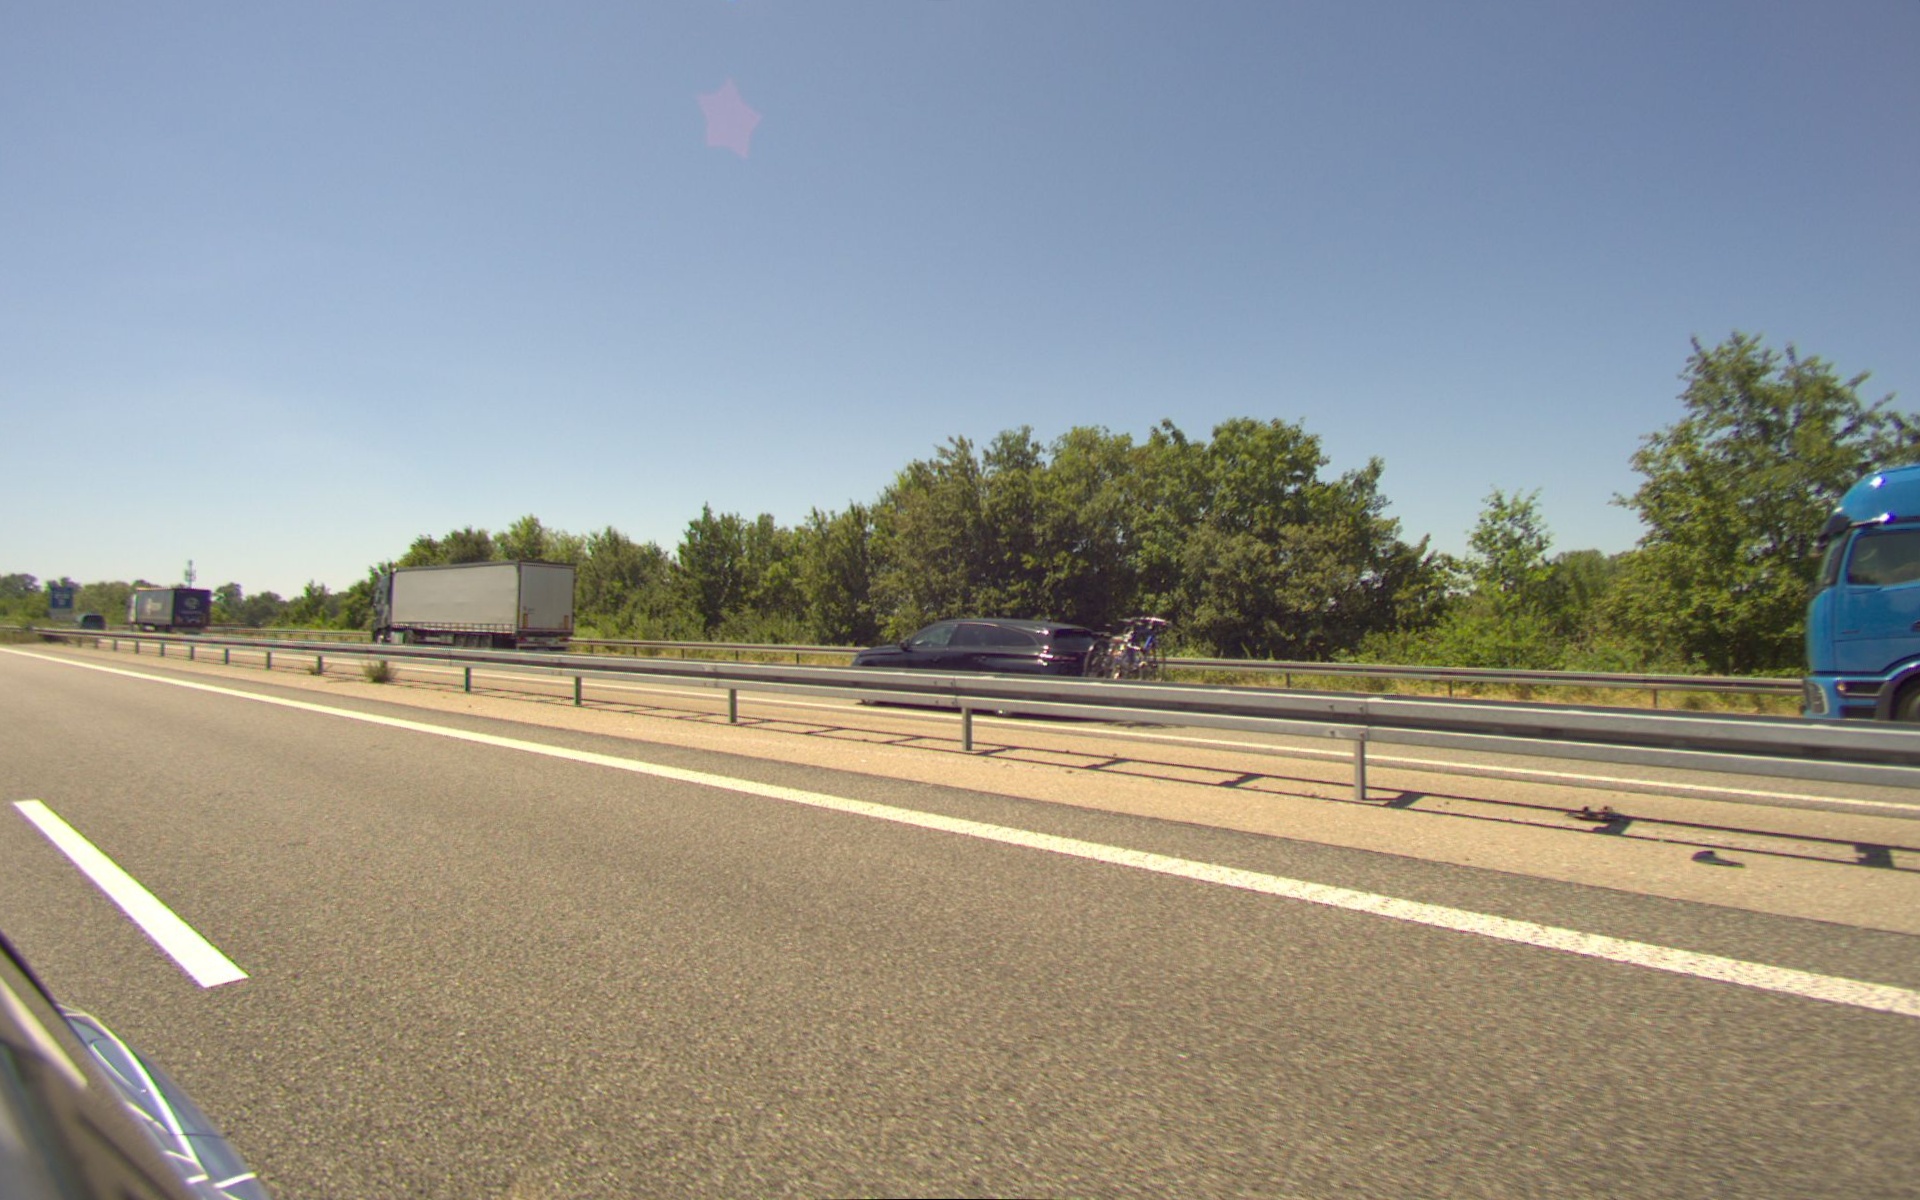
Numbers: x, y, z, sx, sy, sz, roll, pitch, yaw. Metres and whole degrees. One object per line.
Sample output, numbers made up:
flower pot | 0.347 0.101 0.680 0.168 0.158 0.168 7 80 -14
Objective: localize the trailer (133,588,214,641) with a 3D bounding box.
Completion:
trailer | -67.847 1.271 87.152 13.535 4.218 2.889 -1 -3 41

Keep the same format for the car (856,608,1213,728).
car | 0.928 0.913 14.935 5.167 1.474 1.830 -1 -4 41

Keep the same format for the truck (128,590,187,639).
truck | -72.226 1.347 91.035 6.190 4.161 2.886 -1 -3 41

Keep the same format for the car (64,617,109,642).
car | -78.468 2.649 90.905 5.354 2.003 2.206 -1 2 41

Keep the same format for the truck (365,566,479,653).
truck | -27.469 0.519 51.540 6.190 4.161 3.164 -2 -2 41

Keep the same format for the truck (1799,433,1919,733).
truck | 16.274 -0.282 12.703 8.722 4.017 3.218 -2 -2 41

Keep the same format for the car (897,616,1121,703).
car | 0.925 1.119 20.539 4.311 1.474 1.831 -1 2 41

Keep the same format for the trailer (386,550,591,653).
trailer | -22.196 0.243 46.994 13.532 4.218 3.314 -2 -3 41
